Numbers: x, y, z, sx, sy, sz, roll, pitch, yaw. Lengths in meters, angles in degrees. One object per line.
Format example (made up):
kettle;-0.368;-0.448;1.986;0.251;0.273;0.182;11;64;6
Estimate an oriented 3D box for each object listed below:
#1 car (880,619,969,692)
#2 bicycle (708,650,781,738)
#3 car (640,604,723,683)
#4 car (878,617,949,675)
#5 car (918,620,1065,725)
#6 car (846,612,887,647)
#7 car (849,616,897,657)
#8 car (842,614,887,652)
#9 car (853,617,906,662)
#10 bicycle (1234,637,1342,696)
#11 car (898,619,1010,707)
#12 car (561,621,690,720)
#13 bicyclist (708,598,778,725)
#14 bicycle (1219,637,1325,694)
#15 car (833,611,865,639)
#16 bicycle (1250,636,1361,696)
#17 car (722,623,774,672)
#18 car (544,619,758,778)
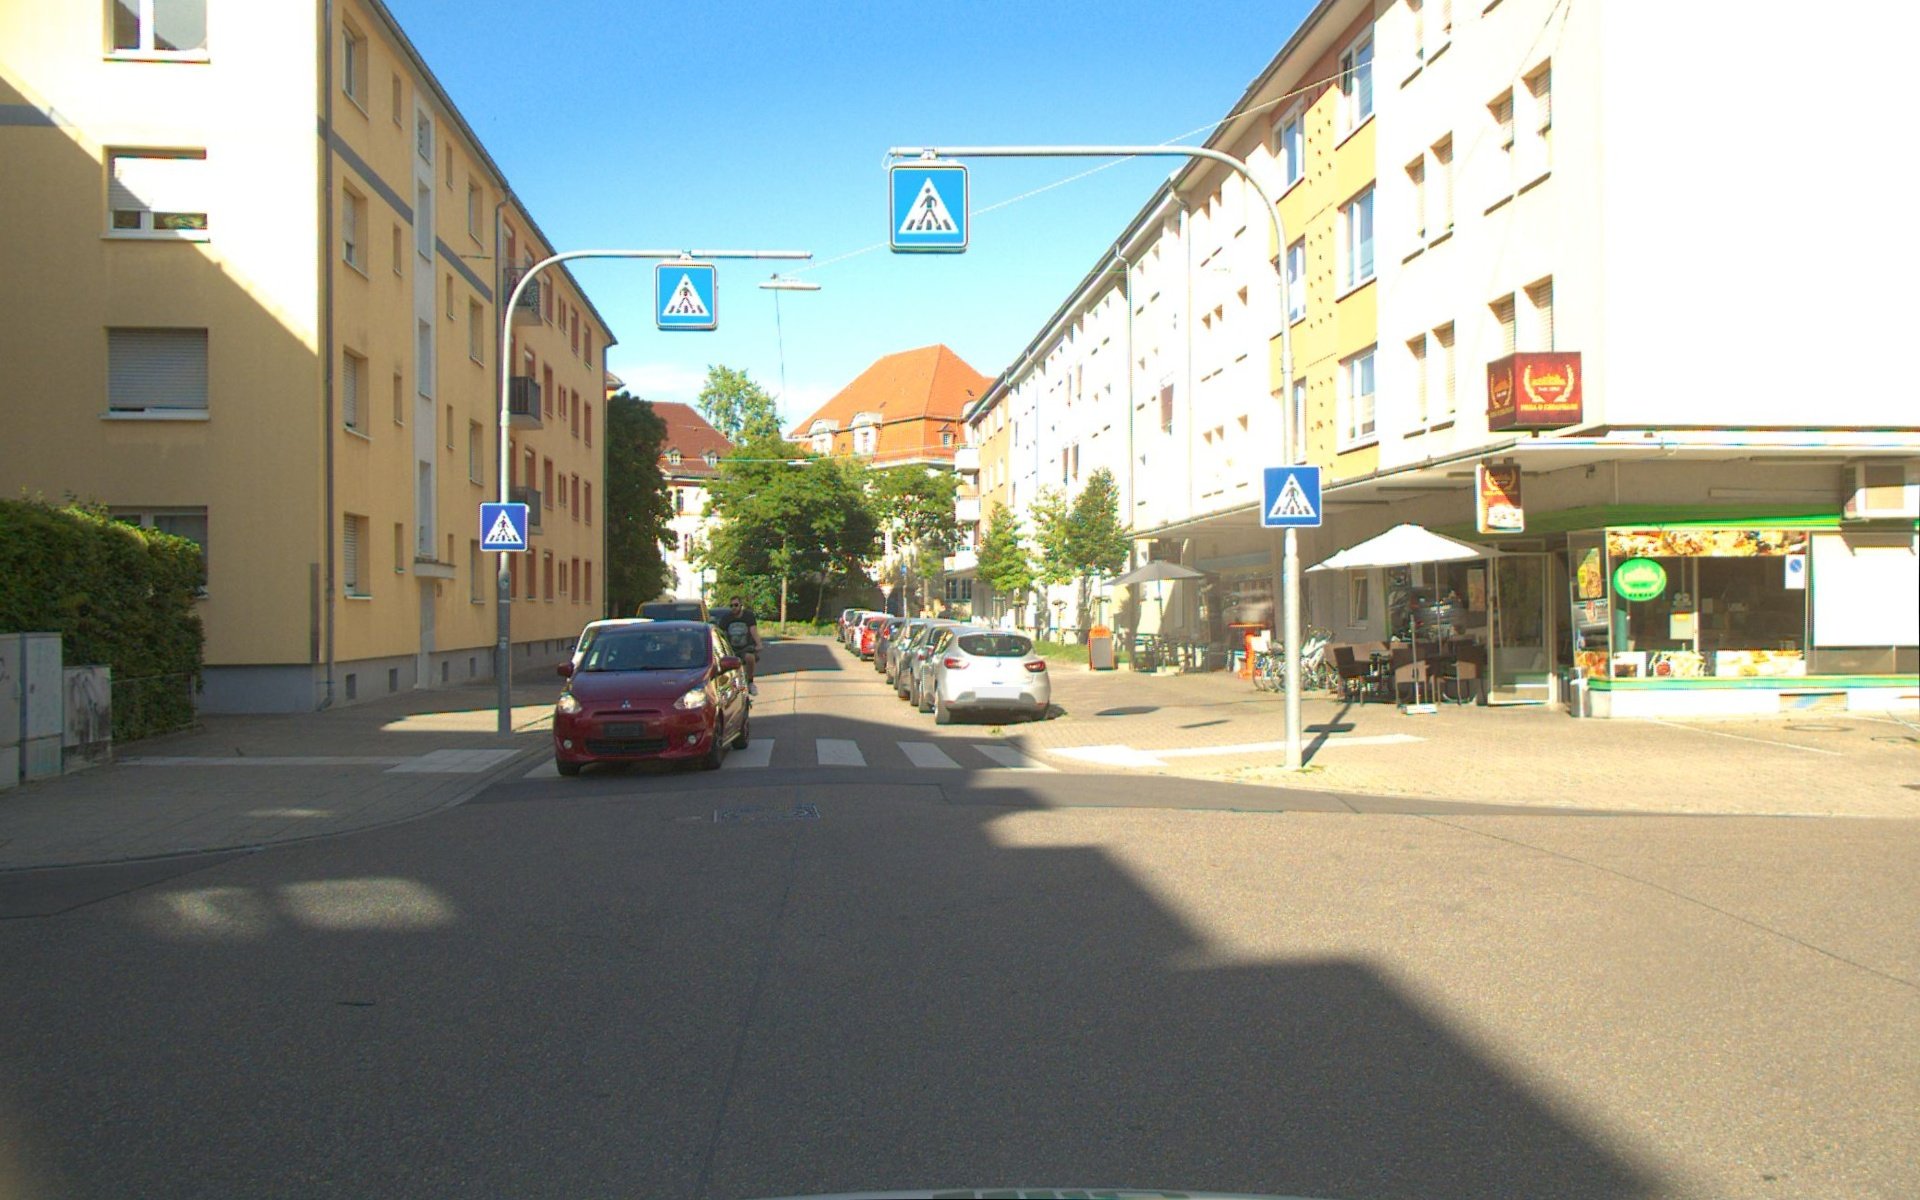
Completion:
car;-0.809;1.169;36.055;1.606;1.466;3.413;-1;0;-7
bicycle;-2.922;1.261;22.581;0.762;1.088;1.789;-1;0;-1
car;-6.765;1.022;40.503;1.664;1.810;4.094;-1;0;-5
car;-1.297;1.222;44.989;1.606;1.466;3.413;-1;0;-7
car;0.413;1.069;25.620;1.810;1.466;3.413;-1;0;-7
car;-4.077;1.259;71.921;1.606;1.466;3.414;-1;0;-6
car;-3.331;1.349;62.600;1.606;1.466;3.414;-1;0;-6
car;-3.909;1.311;67.336;1.606;1.466;3.414;-1;0;-6
car;-2.790;1.326;56.611;1.606;1.466;3.414;-1;0;-6
bicycle;5.863;1.178;29.540;1.777;0.984;0.671;-1;-1;-16
car;-0.163;1.101;30.239;1.658;1.466;3.413;-1;0;-7
car;-5.884;1.190;29.535;1.757;1.506;4.094;-2;0;-5
bicyclist;-2.938;0.812;22.448;0.770;1.649;0.956;-3;0;-1
bicycle;5.691;1.182;30.153;1.777;0.984;0.671;-1;-1;-16
car;-6.111;1.370;90.997;1.606;1.466;3.414;-1;0;-6
bicycle;6.042;1.147;28.927;1.777;0.984;0.671;-1;-1;-16
car;-6.833;1.509;53.447;1.606;1.466;3.413;-1;0;-7
car;-3.141;0.952;17.403;1.663;1.466;3.417;-1;0;-2
